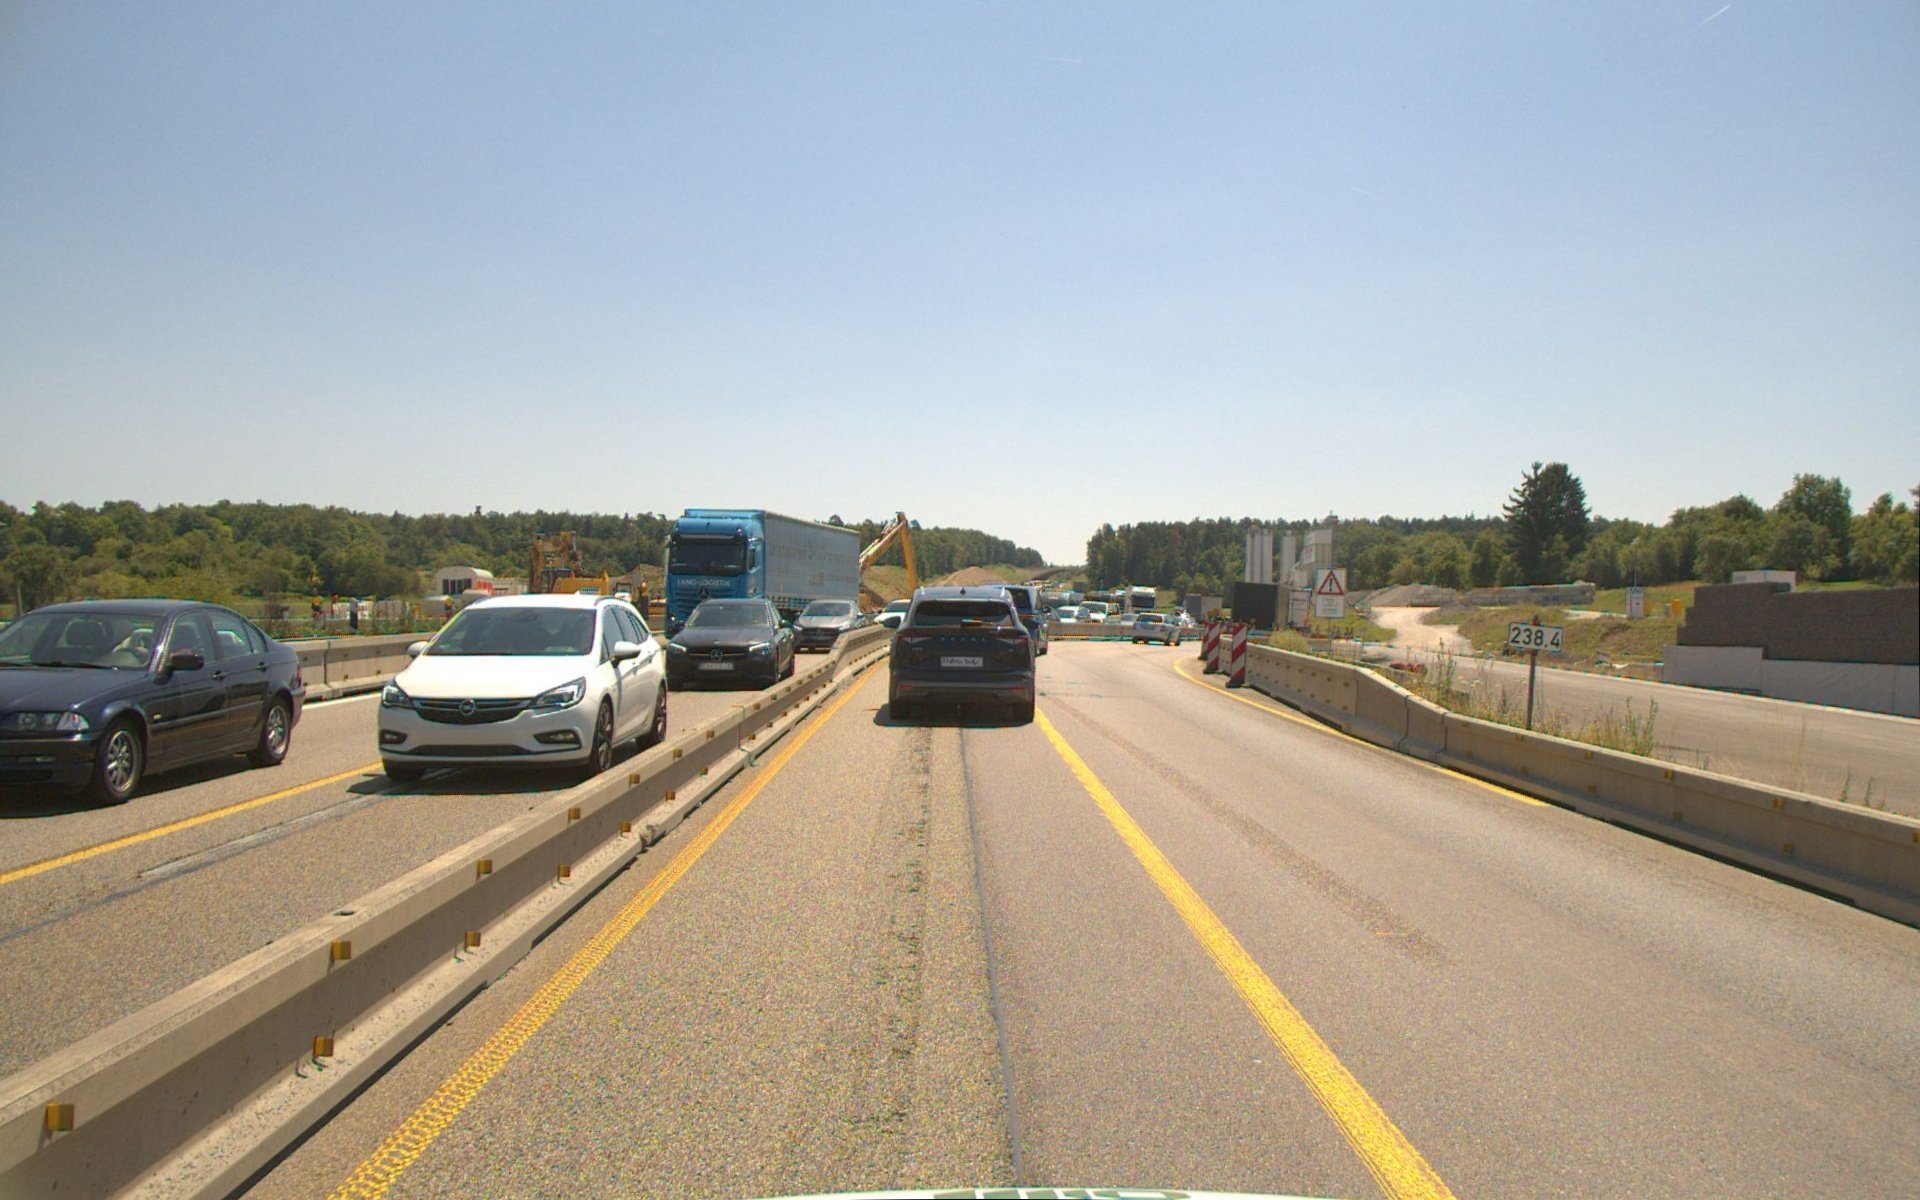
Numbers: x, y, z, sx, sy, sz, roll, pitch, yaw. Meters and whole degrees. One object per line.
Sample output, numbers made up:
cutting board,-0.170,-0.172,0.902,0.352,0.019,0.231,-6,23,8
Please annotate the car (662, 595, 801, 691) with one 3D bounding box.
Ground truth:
car,-3.812,0.664,28.309,1.737,1.452,4.770,-1,0,0

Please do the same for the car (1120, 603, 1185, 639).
car,9.069,0.968,77.697,2.003,1.553,5.068,0,0,19

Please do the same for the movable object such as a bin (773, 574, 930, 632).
movable object such as a bin,-5.839,0.147,88.588,7.778,2.474,3.702,5,0,37

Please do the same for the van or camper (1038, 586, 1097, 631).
van or camper,6.556,0.546,100.233,2.055,2.586,6.307,0,-1,18

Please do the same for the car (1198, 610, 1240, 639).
car,15.800,1.505,100.593,1.783,1.673,3.866,3,0,20

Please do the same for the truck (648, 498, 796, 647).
truck,-7.089,-0.782,50.165,2.852,4.201,6.143,1,0,7

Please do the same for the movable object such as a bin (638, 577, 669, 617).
movable object such as a bin,-26.906,-0.317,145.149,2.378,3.179,5.468,5,0,-11

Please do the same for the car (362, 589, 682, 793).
car,-3.704,0.677,14.811,1.698,1.504,4.519,0,1,-1

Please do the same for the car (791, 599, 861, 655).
car,-3.698,0.719,46.194,1.556,1.466,4.125,0,0,1

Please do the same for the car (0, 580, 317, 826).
car,-6.657,0.664,12.968,1.731,1.625,3.999,0,1,-1

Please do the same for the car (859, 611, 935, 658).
car,-2.213,1.194,58.979,1.973,1.469,4.592,1,1,7

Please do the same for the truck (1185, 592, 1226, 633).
truck,28.722,1.430,193.738,3.405,4.292,10.381,6,1,3

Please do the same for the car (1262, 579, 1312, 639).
car,25.319,0.721,127.892,3.364,4.171,9.204,5,0,12

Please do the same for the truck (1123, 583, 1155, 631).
truck,16.819,0.637,156.009,2.712,4.334,6.202,2,0,5

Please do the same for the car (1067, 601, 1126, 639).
car,7.529,1.137,90.758,1.834,1.905,5.058,3,-1,21

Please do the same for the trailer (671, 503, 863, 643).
trailer,-6.231,-0.794,56.807,2.852,4.201,13.927,1,0,9

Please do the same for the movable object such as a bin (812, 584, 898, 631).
movable object such as a bin,-6.409,0.491,101.726,3.225,2.482,5.441,5,1,19

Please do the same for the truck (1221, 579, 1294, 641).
truck,15.095,0.512,83.722,2.618,2.997,5.620,1,-1,21

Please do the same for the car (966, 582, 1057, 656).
car,1.478,0.509,45.785,1.951,1.876,4.003,2,0,9

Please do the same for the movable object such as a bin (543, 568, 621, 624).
movable object such as a bin,-20.735,-0.247,90.748,2.853,2.774,3.314,3,0,-40

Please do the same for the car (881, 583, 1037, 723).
car,-0.011,0.600,21.260,1.804,1.609,4.000,0,1,0
